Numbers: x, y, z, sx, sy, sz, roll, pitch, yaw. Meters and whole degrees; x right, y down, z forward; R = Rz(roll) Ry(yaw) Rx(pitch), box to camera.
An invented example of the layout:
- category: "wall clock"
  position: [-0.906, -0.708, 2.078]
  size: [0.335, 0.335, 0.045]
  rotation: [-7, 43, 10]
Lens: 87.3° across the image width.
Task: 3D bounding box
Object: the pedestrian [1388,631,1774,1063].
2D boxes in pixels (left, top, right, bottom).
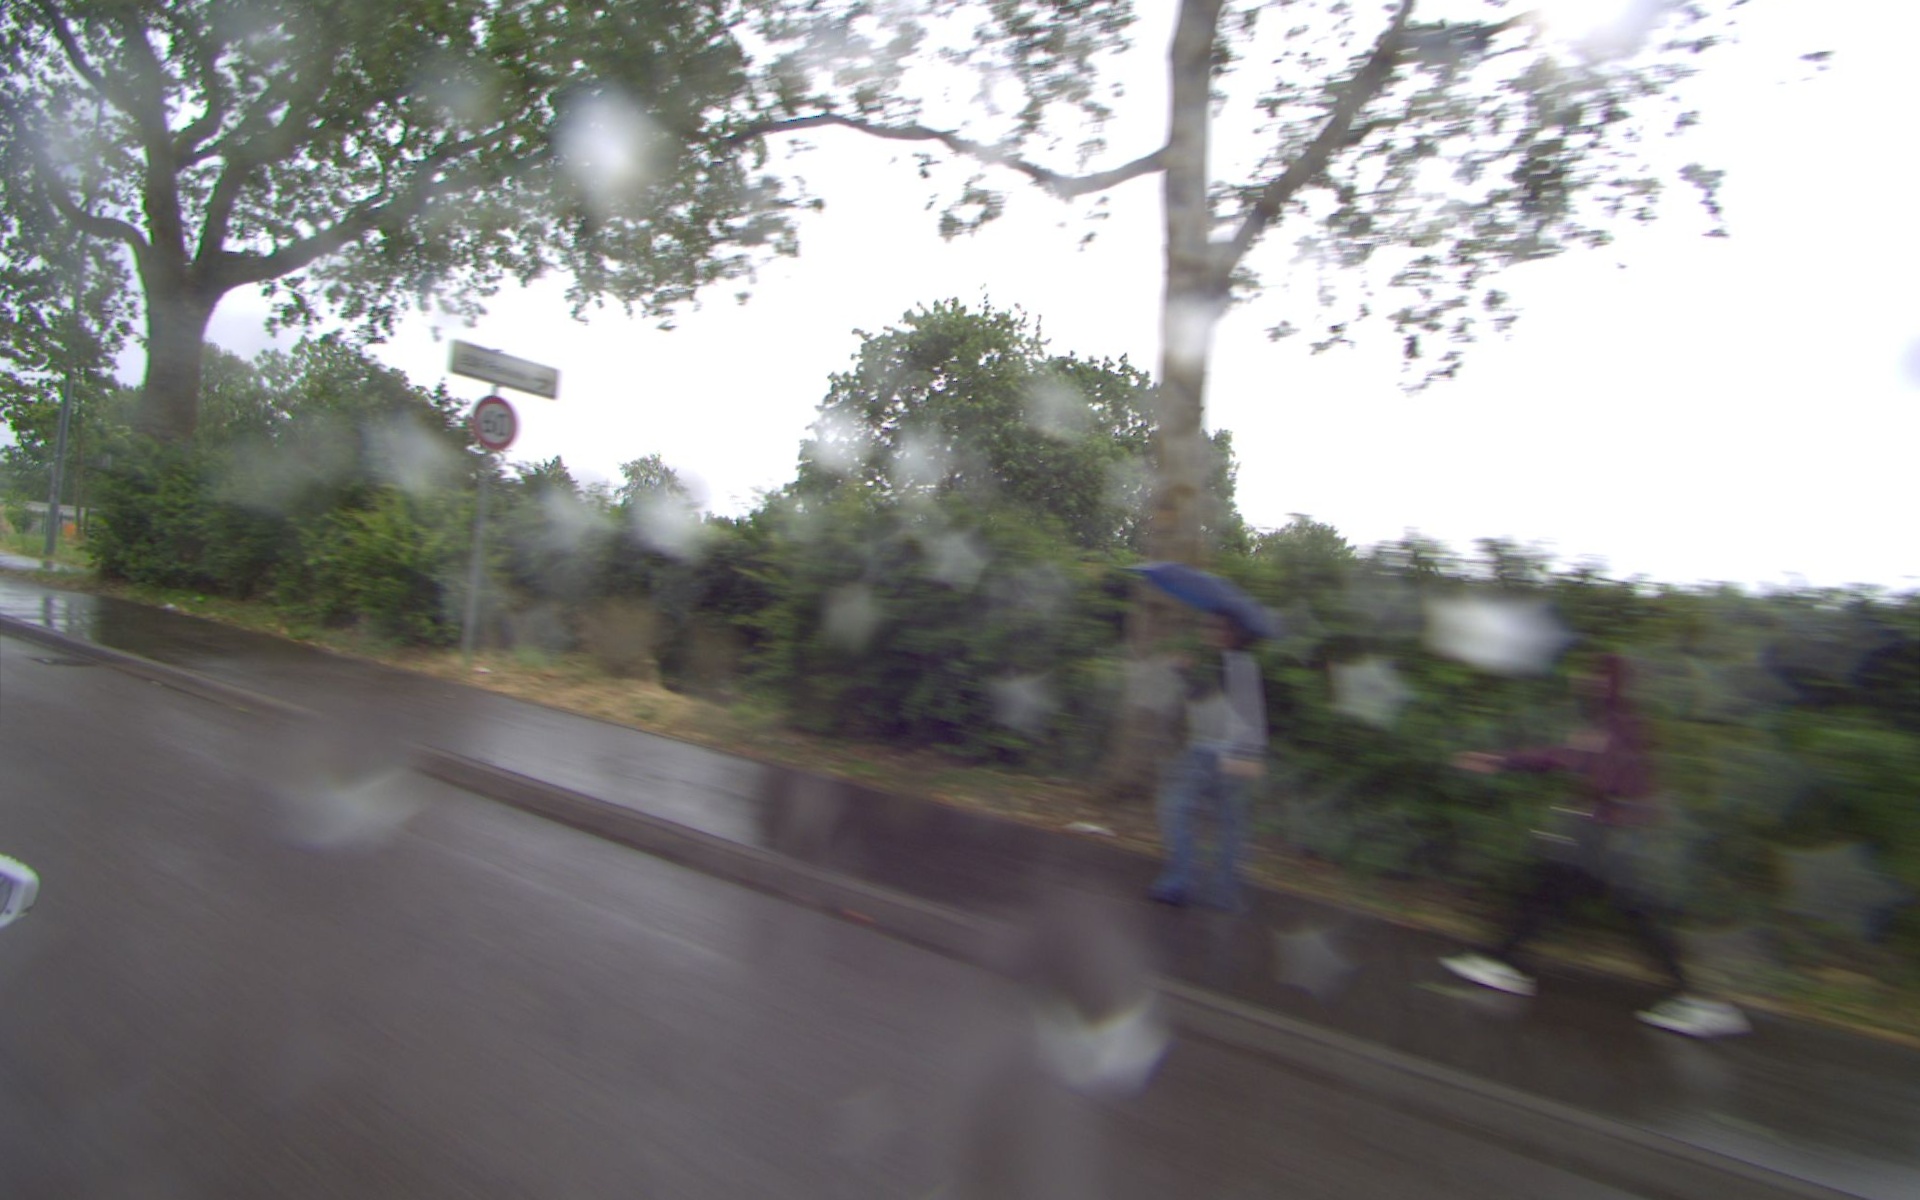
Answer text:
- category: "pedestrian"
  position: [2.875, 1.036, 4.783]
  size: [1.272, 1.609, 0.947]
  rotation: [7, 1, 31]

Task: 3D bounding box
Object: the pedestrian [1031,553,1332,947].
- category: "pedestrian"
  position: [1.270, 0.741, 5.615]
  size: [1.128, 1.808, 1.241]
  rotation: [7, 1, 31]
